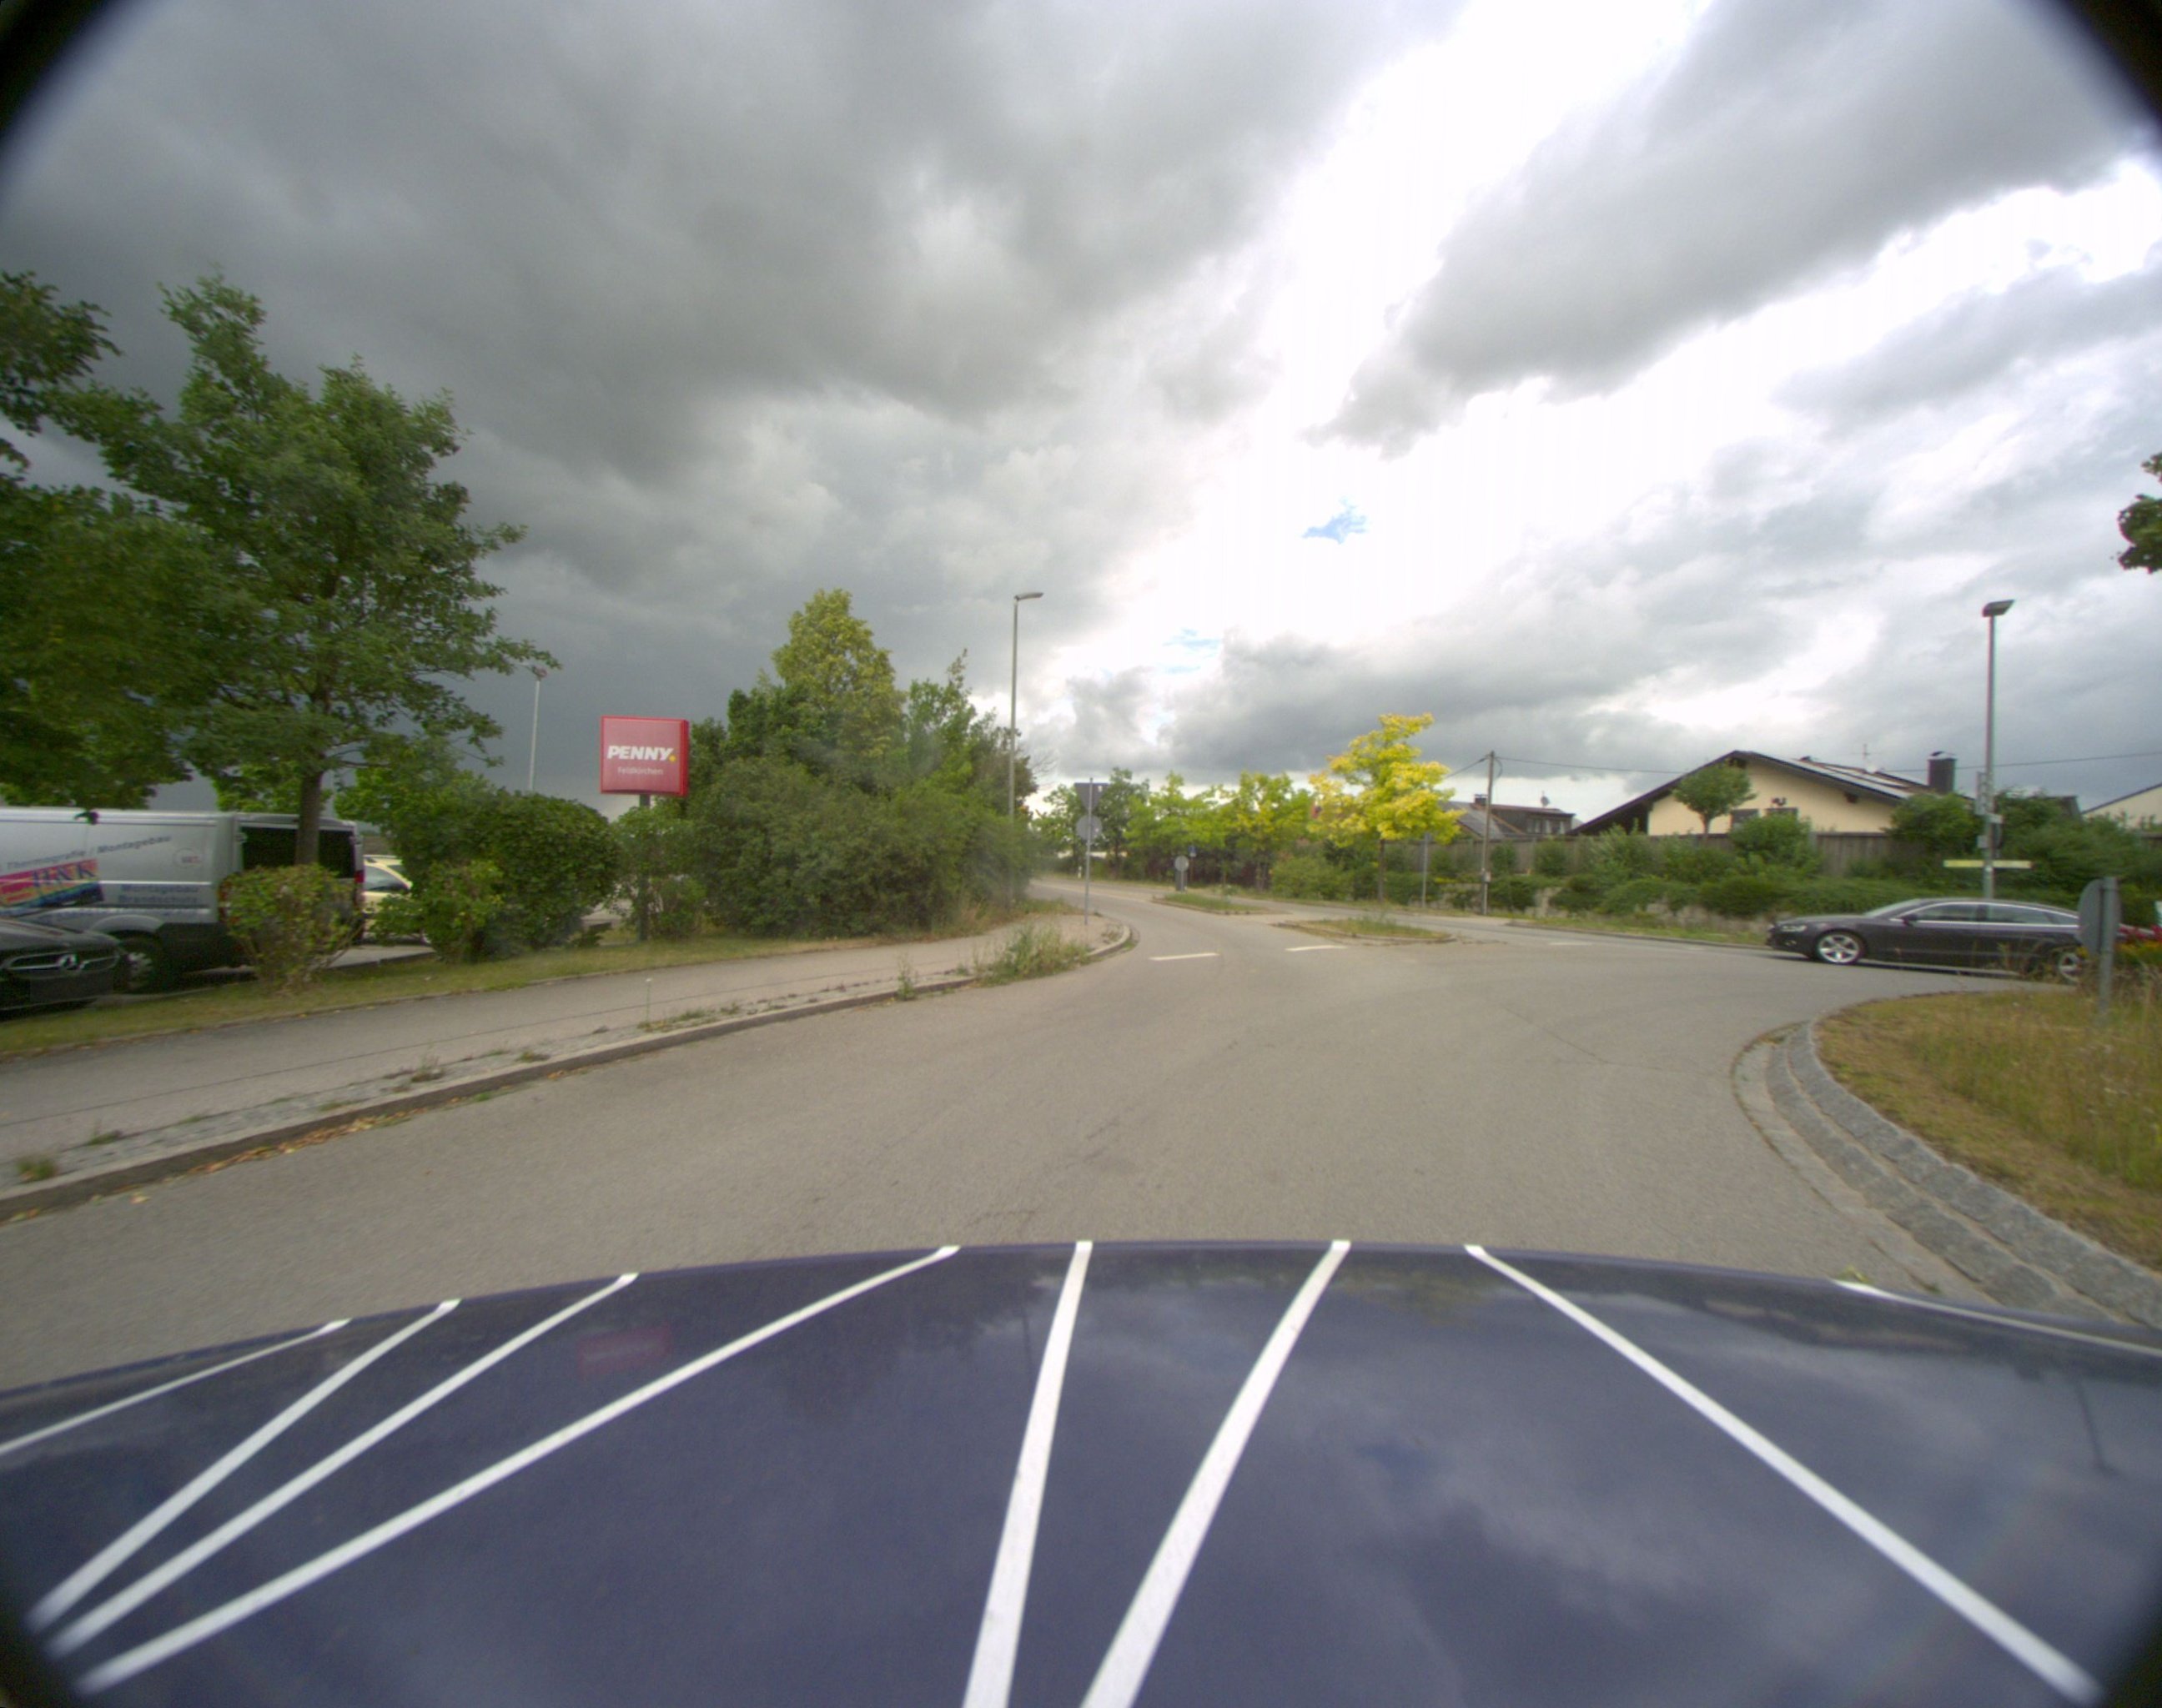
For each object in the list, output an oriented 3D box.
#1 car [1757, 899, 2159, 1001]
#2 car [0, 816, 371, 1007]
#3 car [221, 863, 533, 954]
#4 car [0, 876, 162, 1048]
[{"bbox_3d":[15.683,1.650,14.035,4.457,1.339,1.940,2,-1,31],"label":"car"},{"bbox_3d":[-12.316,0.653,9.584,4.417,2.146,2.155,1,0,-9],"label":"car"},{"bbox_3d":[-12.899,0.979,14.186,3.939,1.547,1.761,1,0,-9],"label":"car"},{"bbox_3d":[-11.925,0.951,6.932,4.417,1.484,1.761,1,0,-9],"label":"car"}]
